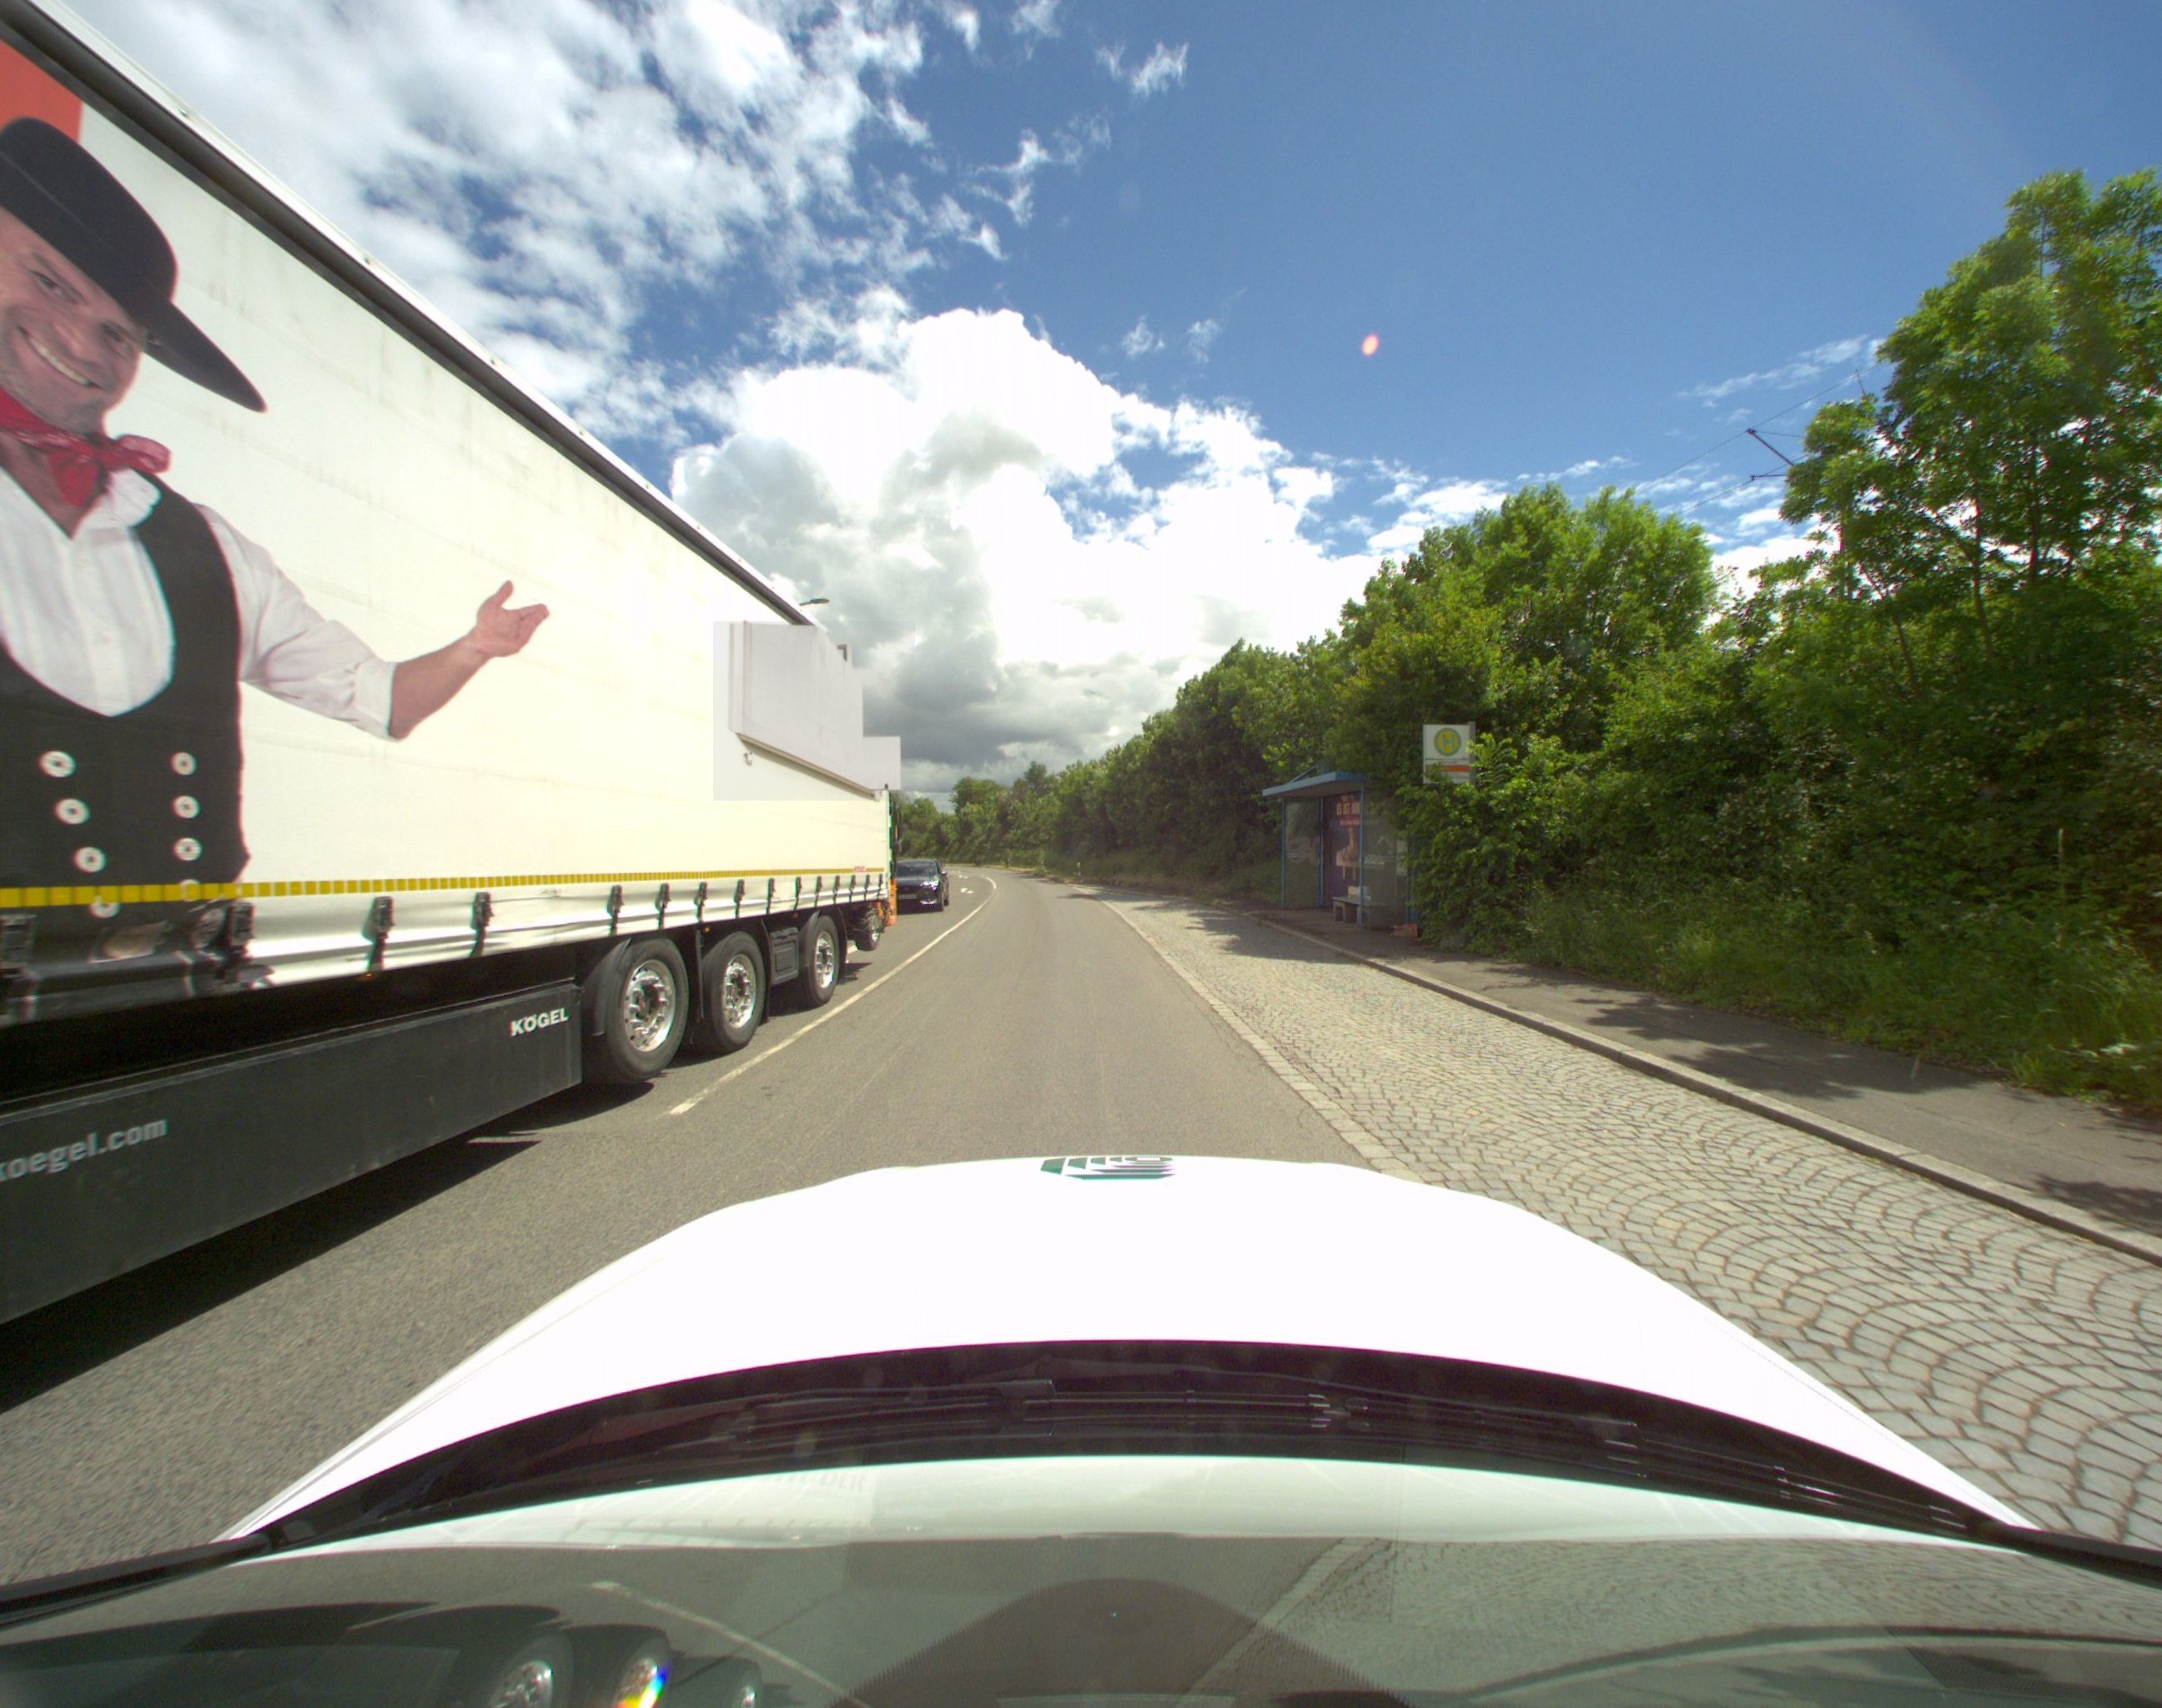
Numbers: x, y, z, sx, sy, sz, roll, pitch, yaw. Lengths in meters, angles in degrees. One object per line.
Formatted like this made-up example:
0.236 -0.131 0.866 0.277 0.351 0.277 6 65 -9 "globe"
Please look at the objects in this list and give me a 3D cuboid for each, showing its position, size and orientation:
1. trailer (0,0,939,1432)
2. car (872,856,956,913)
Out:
-4.015 -0.576 5.848 2.760 4.145 15.358 0 0 2 "trailer"
-4.817 0.831 24.018 1.836 1.463 4.246 -2 0 -4 "car"
